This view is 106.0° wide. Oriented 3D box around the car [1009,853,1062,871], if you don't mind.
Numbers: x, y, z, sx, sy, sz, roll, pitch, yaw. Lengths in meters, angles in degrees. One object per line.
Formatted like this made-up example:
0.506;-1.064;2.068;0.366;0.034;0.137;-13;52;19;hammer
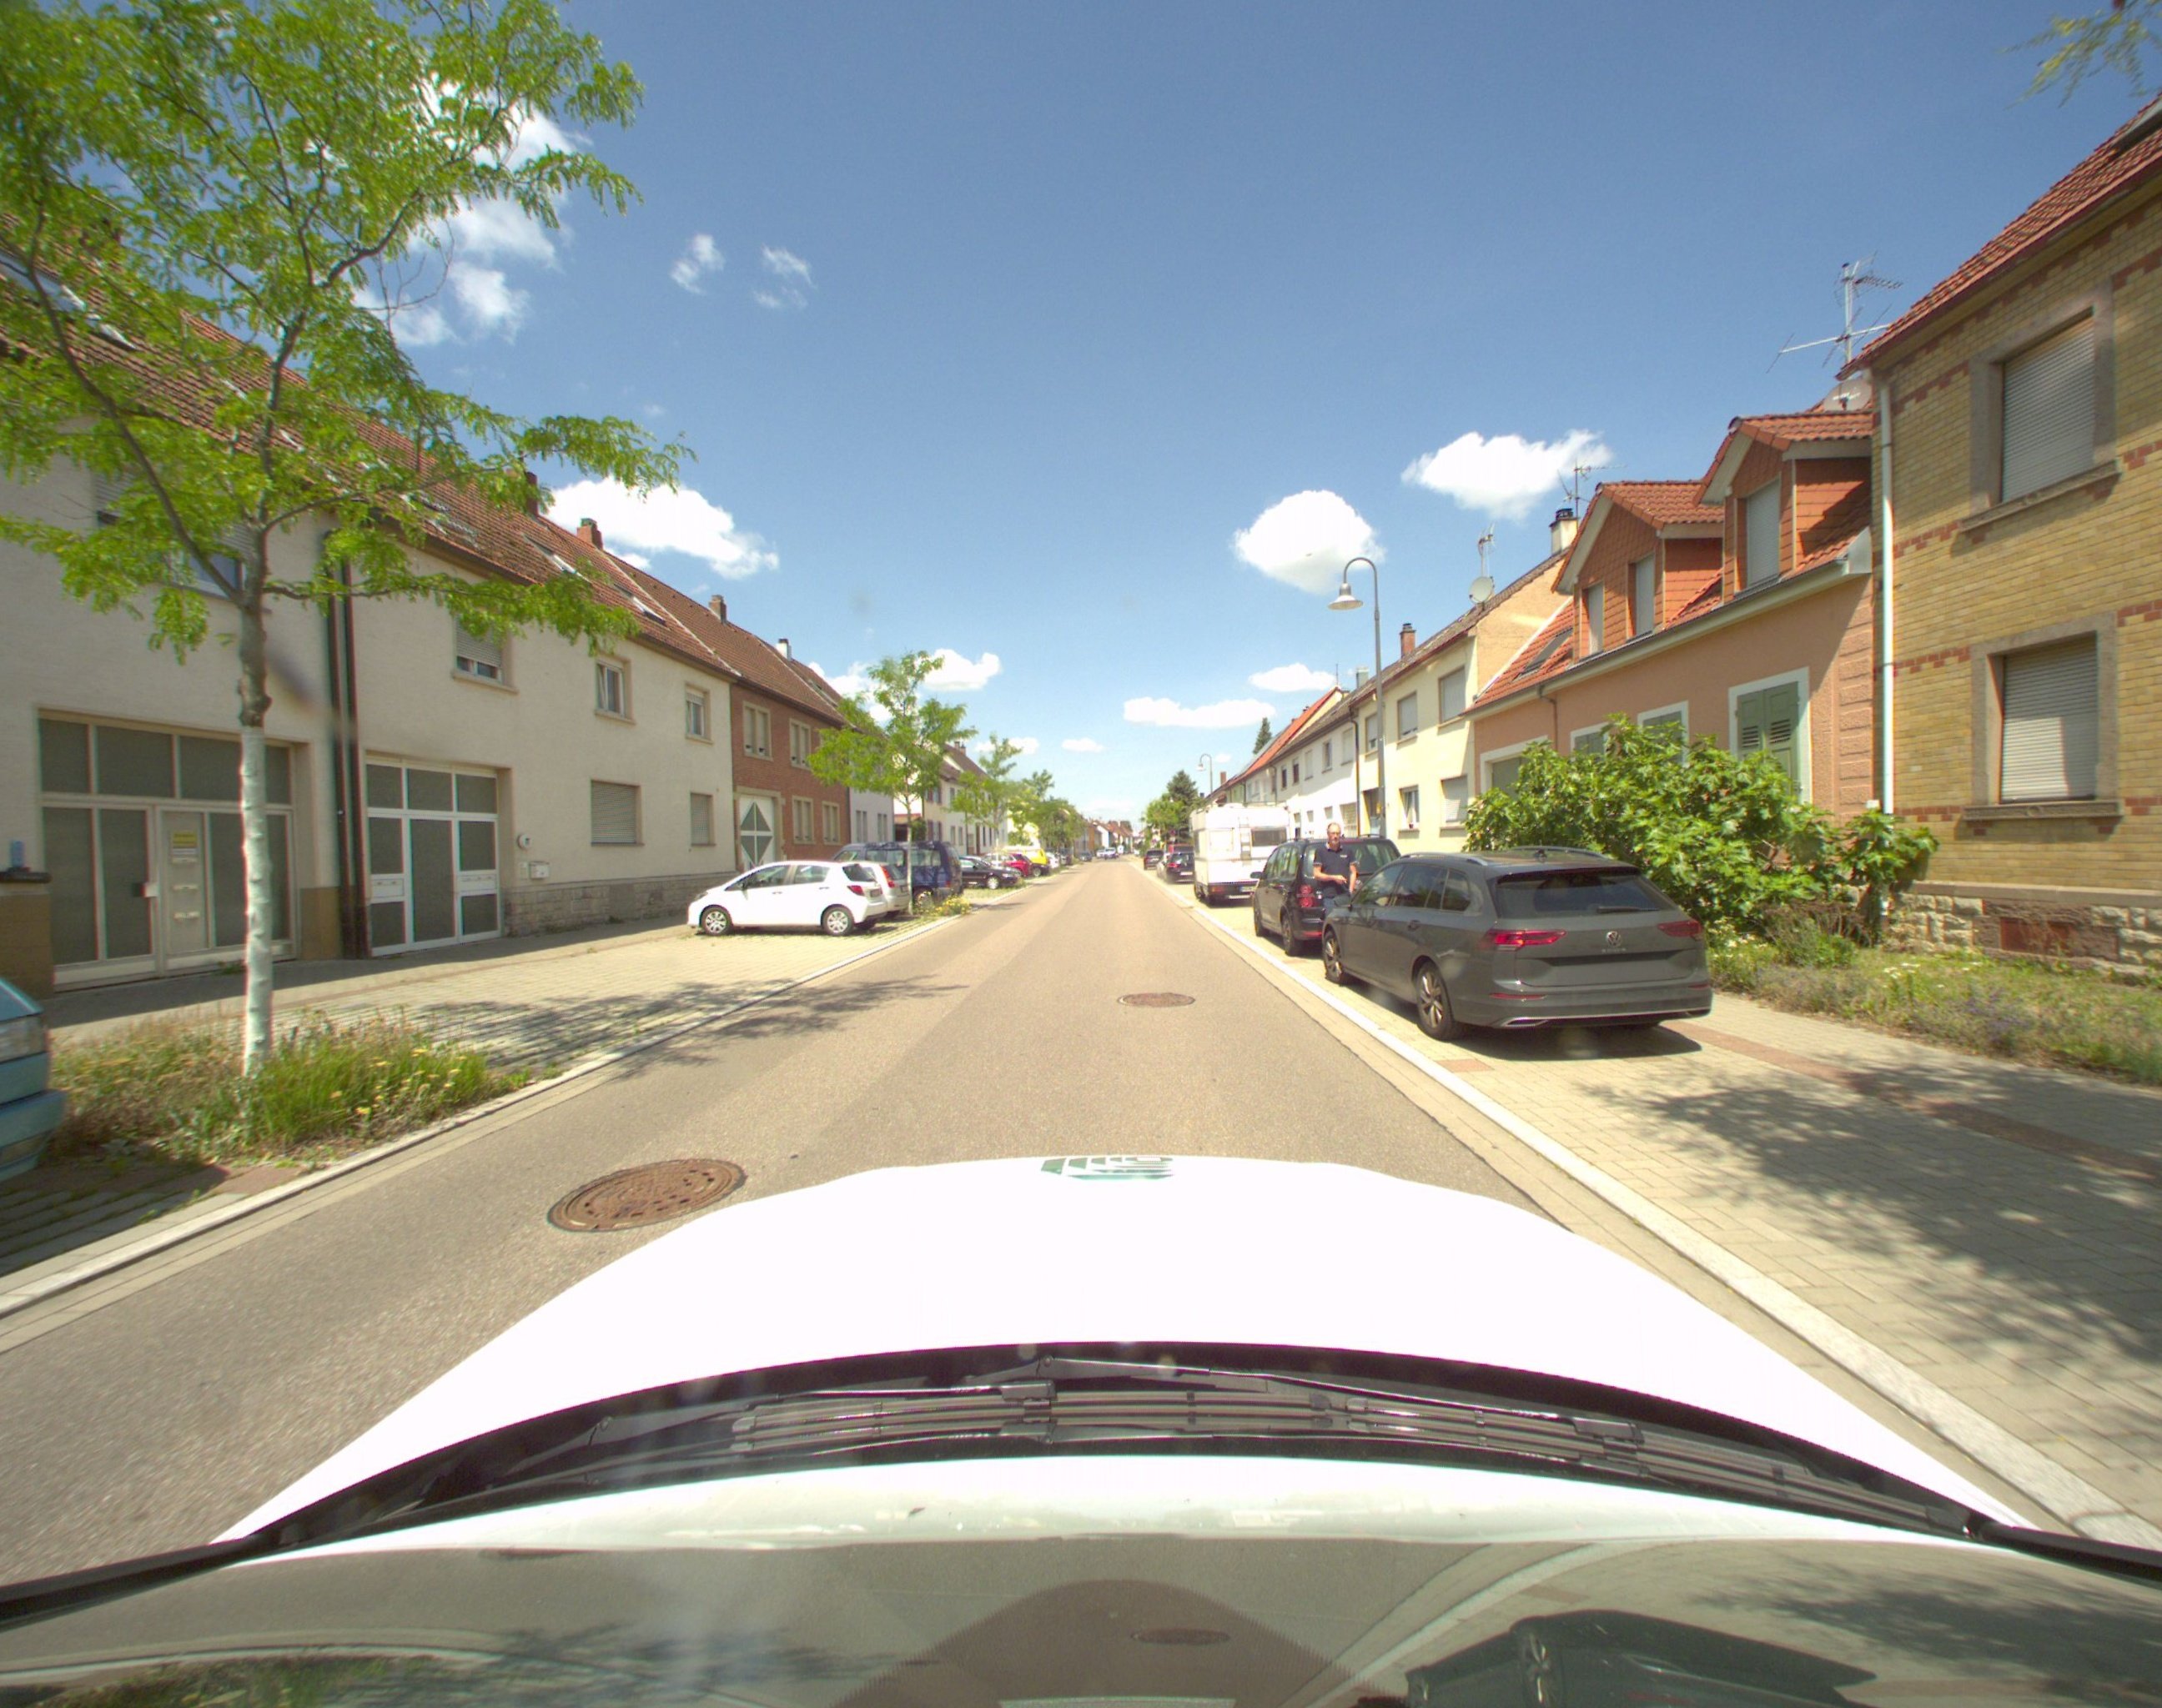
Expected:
-3.882;0.692;70.005;4.276;1.468;1.776;-1;-1;4;car

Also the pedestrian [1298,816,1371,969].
3.189;0.472;10.276;0.713;1.853;0.578;-2;0;2;pedestrian

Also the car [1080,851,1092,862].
0.726;0.391;124.613;1.810;1.433;4.139;2;1;0;car

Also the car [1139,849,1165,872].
5.715;0.480;65.701;1.855;1.635;4.452;-4;1;5;car

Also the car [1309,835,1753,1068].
3.583;0.642;7.541;1.761;1.488;4.297;-2;0;1;car

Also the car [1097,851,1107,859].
4.509;0.143;173.460;1.841;1.659;4.006;0;0;5;car

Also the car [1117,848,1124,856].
11.775;-0.674;243.164;2.034;2.312;3.778;0;-1;6;car

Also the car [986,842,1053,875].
-4.279;0.316;57.490;4.491;2.177;1.926;-1;0;2;car

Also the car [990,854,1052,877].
-4.017;0.751;54.820;3.994;1.459;1.756;-1;0;2;car

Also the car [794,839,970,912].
-5.761;0.599;23.968;4.592;1.996;1.955;-1;0;4;car

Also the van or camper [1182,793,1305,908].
4.479;-0.112;23.555;2.463;2.810;5.793;-3;0;2;van or camper

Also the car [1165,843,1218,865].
10.209;0.016;75.386;4.602;1.893;2.021;-1;-1;1;car

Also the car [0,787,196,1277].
-6.555;0.705;2.921;4.658;1.907;2.001;0;-1;2;car

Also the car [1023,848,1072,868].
-3.245;0.401;79.728;4.682;1.923;1.939;0;-1;2;car

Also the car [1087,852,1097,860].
2.276;0.413;161.643;1.803;1.609;4.003;0;0;3;car

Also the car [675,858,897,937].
-6.022;0.870;16.886;3.898;1.488;1.774;-1;0;4;car

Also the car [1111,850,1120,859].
6.889;0.090;163.376;1.756;1.522;4.050;-3;0;1;car

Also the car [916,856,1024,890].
-4.895;0.838;36.435;4.506;1.425;1.796;-1;0;2;car

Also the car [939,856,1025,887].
-4.873;0.854;40.412;4.041;1.478;1.775;-1;0;-1;car

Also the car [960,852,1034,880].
-5.043;0.705;49.563;4.237;1.611;1.843;-1;0;1;car

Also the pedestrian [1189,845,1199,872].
7.519;0.323;54.233;0.555;1.749;0.673;-2;-1;3;pedestrian

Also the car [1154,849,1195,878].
5.202;0.512;45.724;1.826;1.465;4.520;-2;0;1;car

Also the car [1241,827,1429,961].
3.738;0.522;12.813;1.759;1.705;4.328;-2;0;3;car

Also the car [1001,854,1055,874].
-4.067;0.753;61.987;4.067;1.468;1.750;-1;0;-6;car

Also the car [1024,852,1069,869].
-3.236;0.626;76.872;4.171;1.568;1.773;0;-1;-2;car

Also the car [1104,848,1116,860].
4.901;0.061;138.065;2.015;1.950;4.900;-2;-1;1;car

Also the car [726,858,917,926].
-6.070;0.870;19.325;3.898;1.488;1.774;-1;0;4;car

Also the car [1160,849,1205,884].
4.741;0.572;38.513;1.759;1.529;4.010;-2;0;3;car

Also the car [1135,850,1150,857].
14.188;-0.127;188.984;3.509;1.464;1.629;0;-1;3;car
